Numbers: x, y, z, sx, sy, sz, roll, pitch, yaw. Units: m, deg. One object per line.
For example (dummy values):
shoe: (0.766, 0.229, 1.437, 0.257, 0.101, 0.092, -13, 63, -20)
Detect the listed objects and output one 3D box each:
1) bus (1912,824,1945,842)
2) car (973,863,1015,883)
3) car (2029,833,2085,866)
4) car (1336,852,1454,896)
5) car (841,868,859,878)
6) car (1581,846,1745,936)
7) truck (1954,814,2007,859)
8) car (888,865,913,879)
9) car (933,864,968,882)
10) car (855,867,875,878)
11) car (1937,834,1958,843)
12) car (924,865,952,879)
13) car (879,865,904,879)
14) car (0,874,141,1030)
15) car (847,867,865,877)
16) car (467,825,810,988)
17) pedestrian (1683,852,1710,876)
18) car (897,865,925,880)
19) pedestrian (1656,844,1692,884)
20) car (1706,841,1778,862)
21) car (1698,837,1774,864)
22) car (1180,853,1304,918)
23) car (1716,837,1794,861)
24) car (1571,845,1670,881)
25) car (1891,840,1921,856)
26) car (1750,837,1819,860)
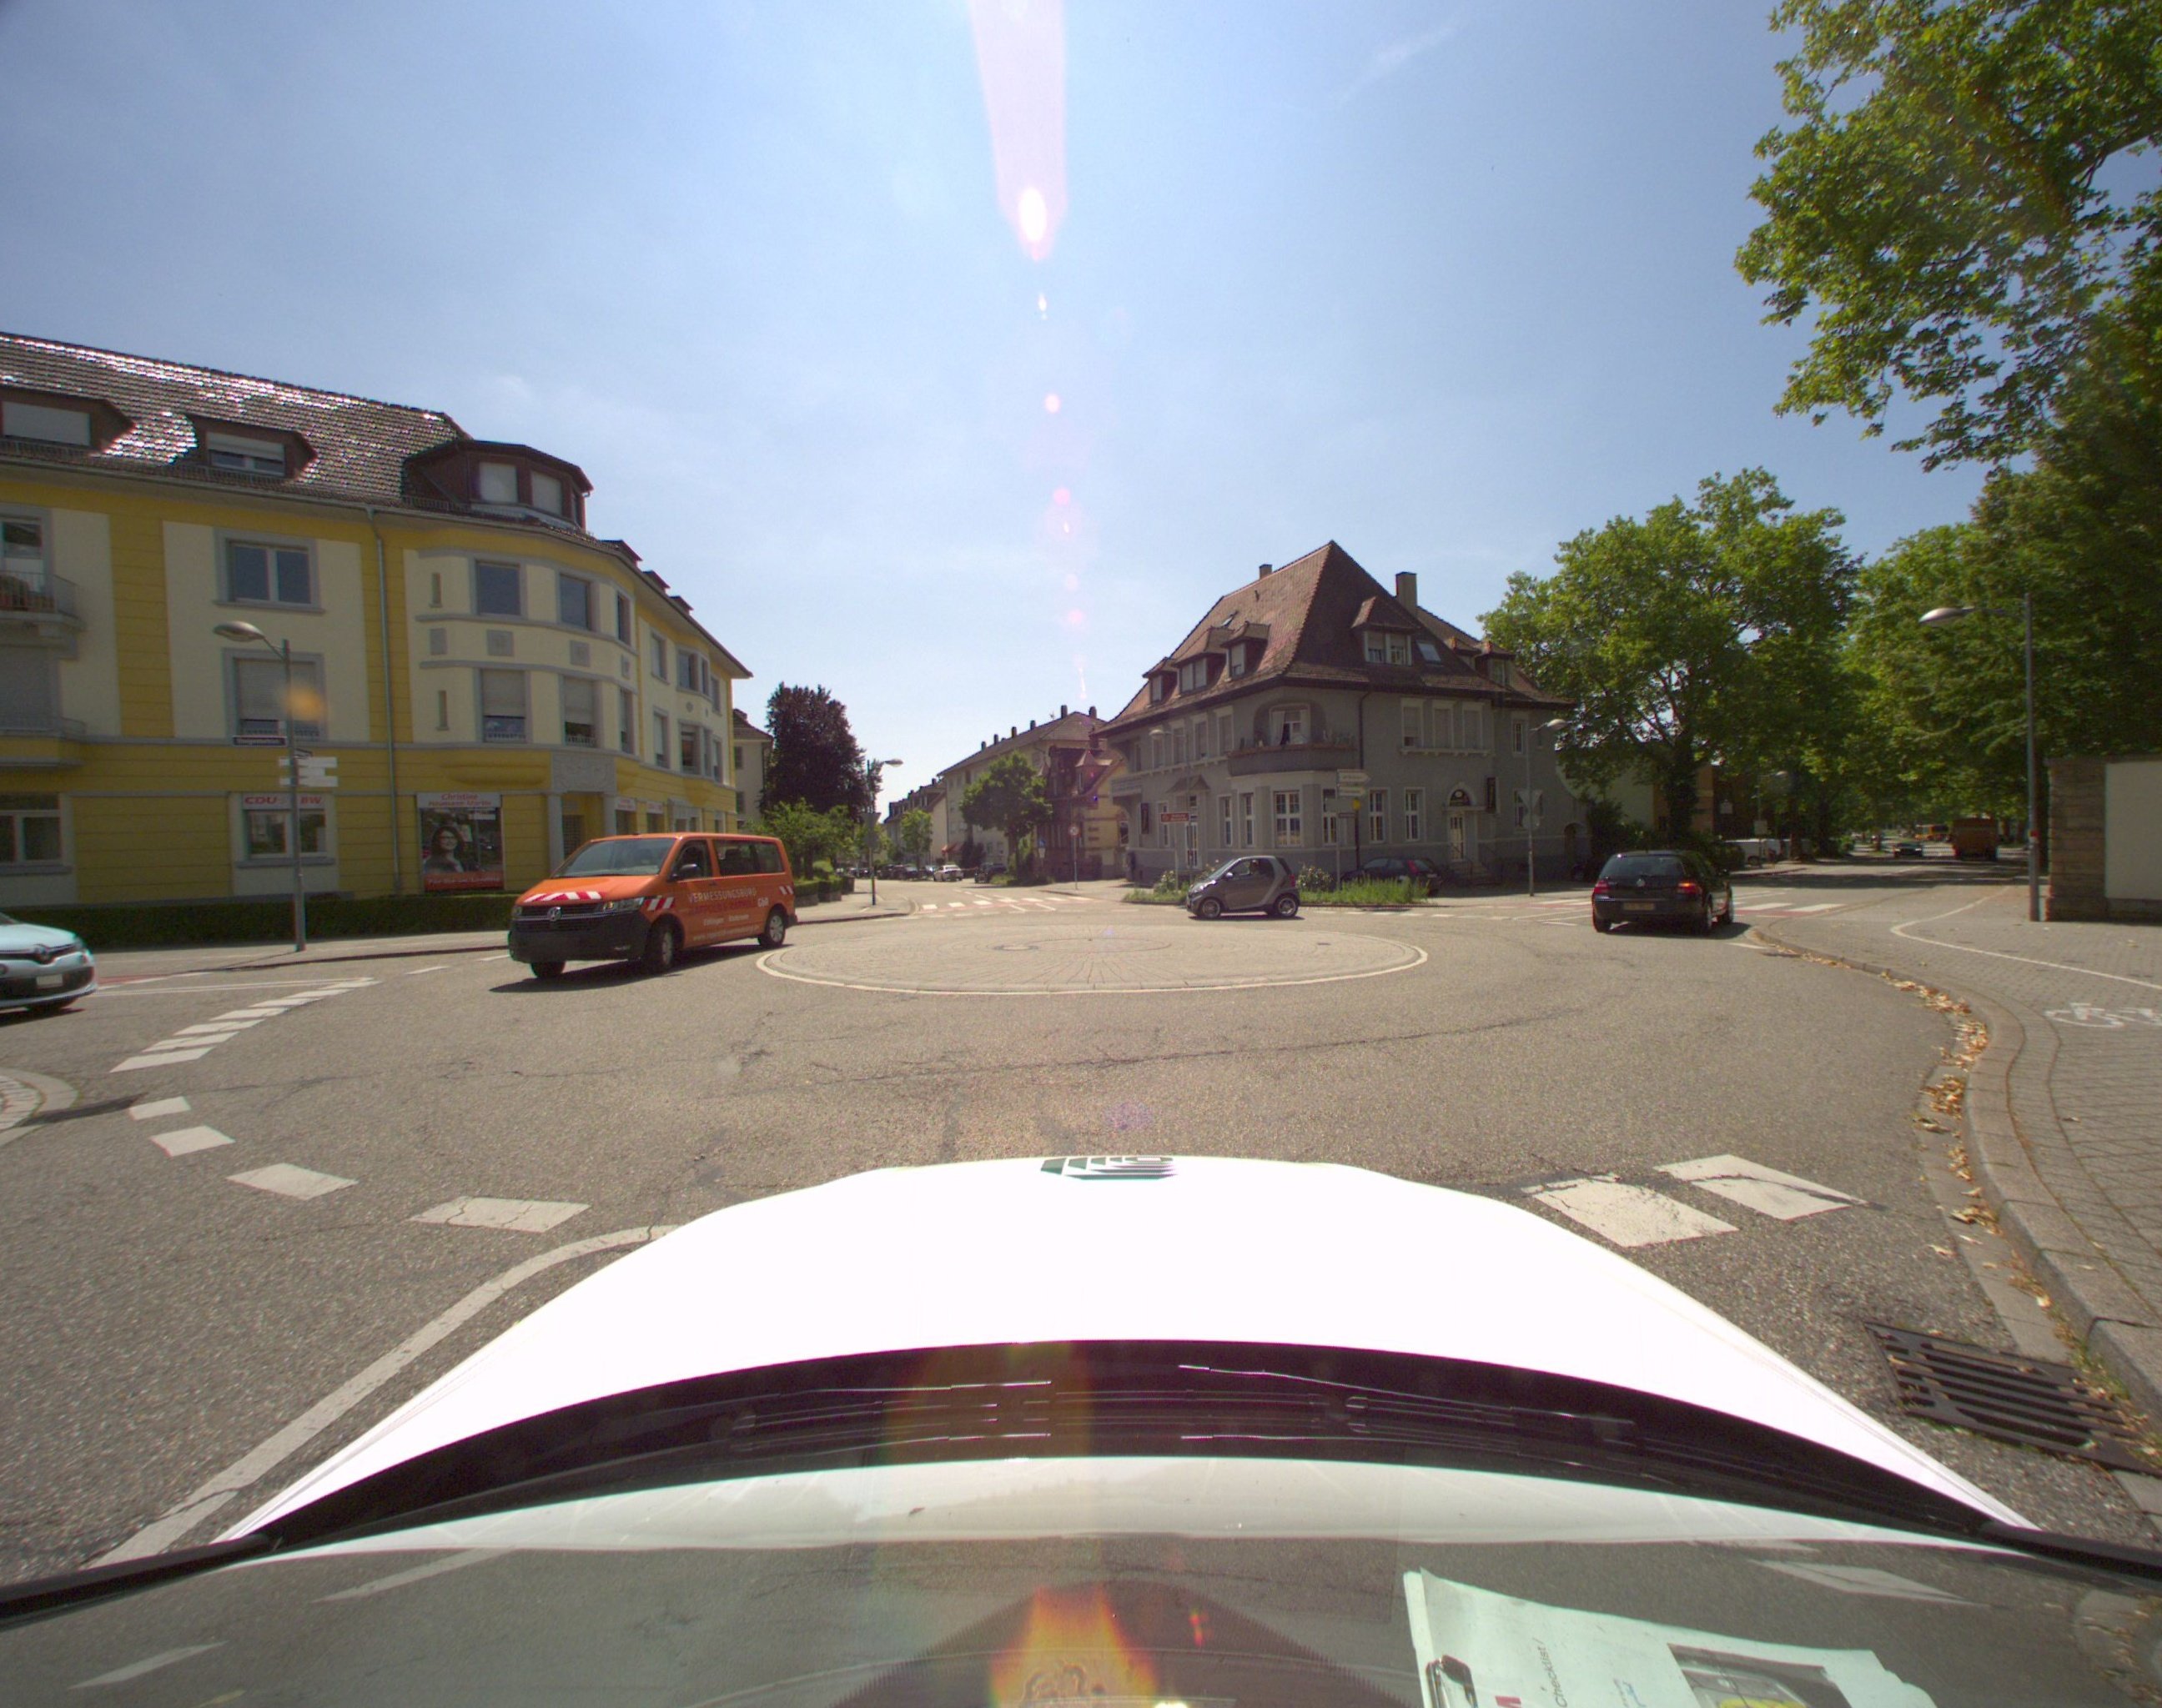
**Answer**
bus: (157.931, -3.846, 151.829, 2.638, 3.150, 11.268, -2, -1, 38)
car: (-6.861, 1.470, 64.045, 2.003, 1.509, 4.382, -1, -1, -25)
car: (52.183, -0.276, 43.526, 4.803, 1.557, 1.727, -2, -1, -38)
car: (11.280, 0.714, 29.522, 1.729, 1.460, 3.757, -1, -1, -29)
car: (-36.376, 2.911, 128.284, 2.003, 1.509, 4.382, -1, -1, -25)
car: (10.867, 0.594, 15.094, 4.081, 1.447, 1.695, -1, -1, -43)
truck: (67.268, -1.223, 60.876, 5.798, 3.134, 2.350, 1, -1, -40)
car: (-20.904, 2.098, 94.190, 2.003, 1.509, 4.382, -1, -1, -25)
car: (-12.062, 1.750, 75.050, 2.003, 1.509, 4.382, -1, -1, -25)
car: (-31.238, 2.671, 117.605, 2.003, 1.509, 4.382, -1, -1, -25)
car: (142.339, -2.593, 133.741, 1.749, 1.374, 3.753, -3, -1, 38)
car: (-16.458, 2.075, 93.577, 2.003, 1.509, 4.382, -1, -1, -25)
car: (-23.060, 2.181, 99.019, 2.003, 1.509, 4.382, -1, -1, -25)
car: (-13.098, 1.023, 8.458, 4.153, 1.525, 1.653, 0, 0, -13)
car: (-34.013, 2.744, 123.045, 2.003, 1.509, 4.382, -1, -1, -25)
car: (-6.270, 0.600, 12.455, 1.933, 1.959, 5.032, -2, 1, 8)
pedestrian: (28.760, 0.466, 38.034, 0.901, 1.122, 0.748, -1, -1, -36)
car: (-18.509, 2.005, 88.697, 2.003, 1.509, 4.382, -1, -1, -25)
pedestrian: (26.124, 0.446, 35.880, 1.116, 1.742, 0.866, -1, -1, -31)
car: (49.408, -0.189, 60.931, 1.878, 1.515, 3.952, -1, 1, -42)
car: (46.276, -0.271, 57.596, 1.878, 1.792, 3.952, -1, 1, -42)
car: (3.993, 0.765, 20.507, 2.772, 1.530, 1.569, -1, -1, -2)
car: (51.585, -0.399, 62.380, 1.913, 1.804, 4.385, -1, 1, -42)
car: (24.886, 0.427, 37.662, 1.729, 1.546, 3.361, -1, 0, -29)
car: (75.704, -0.576, 74.679, 4.417, 1.426, 1.753, -1, -1, -43)
car: (58.177, -0.501, 67.349, 1.913, 1.804, 4.093, -1, 1, -42)
